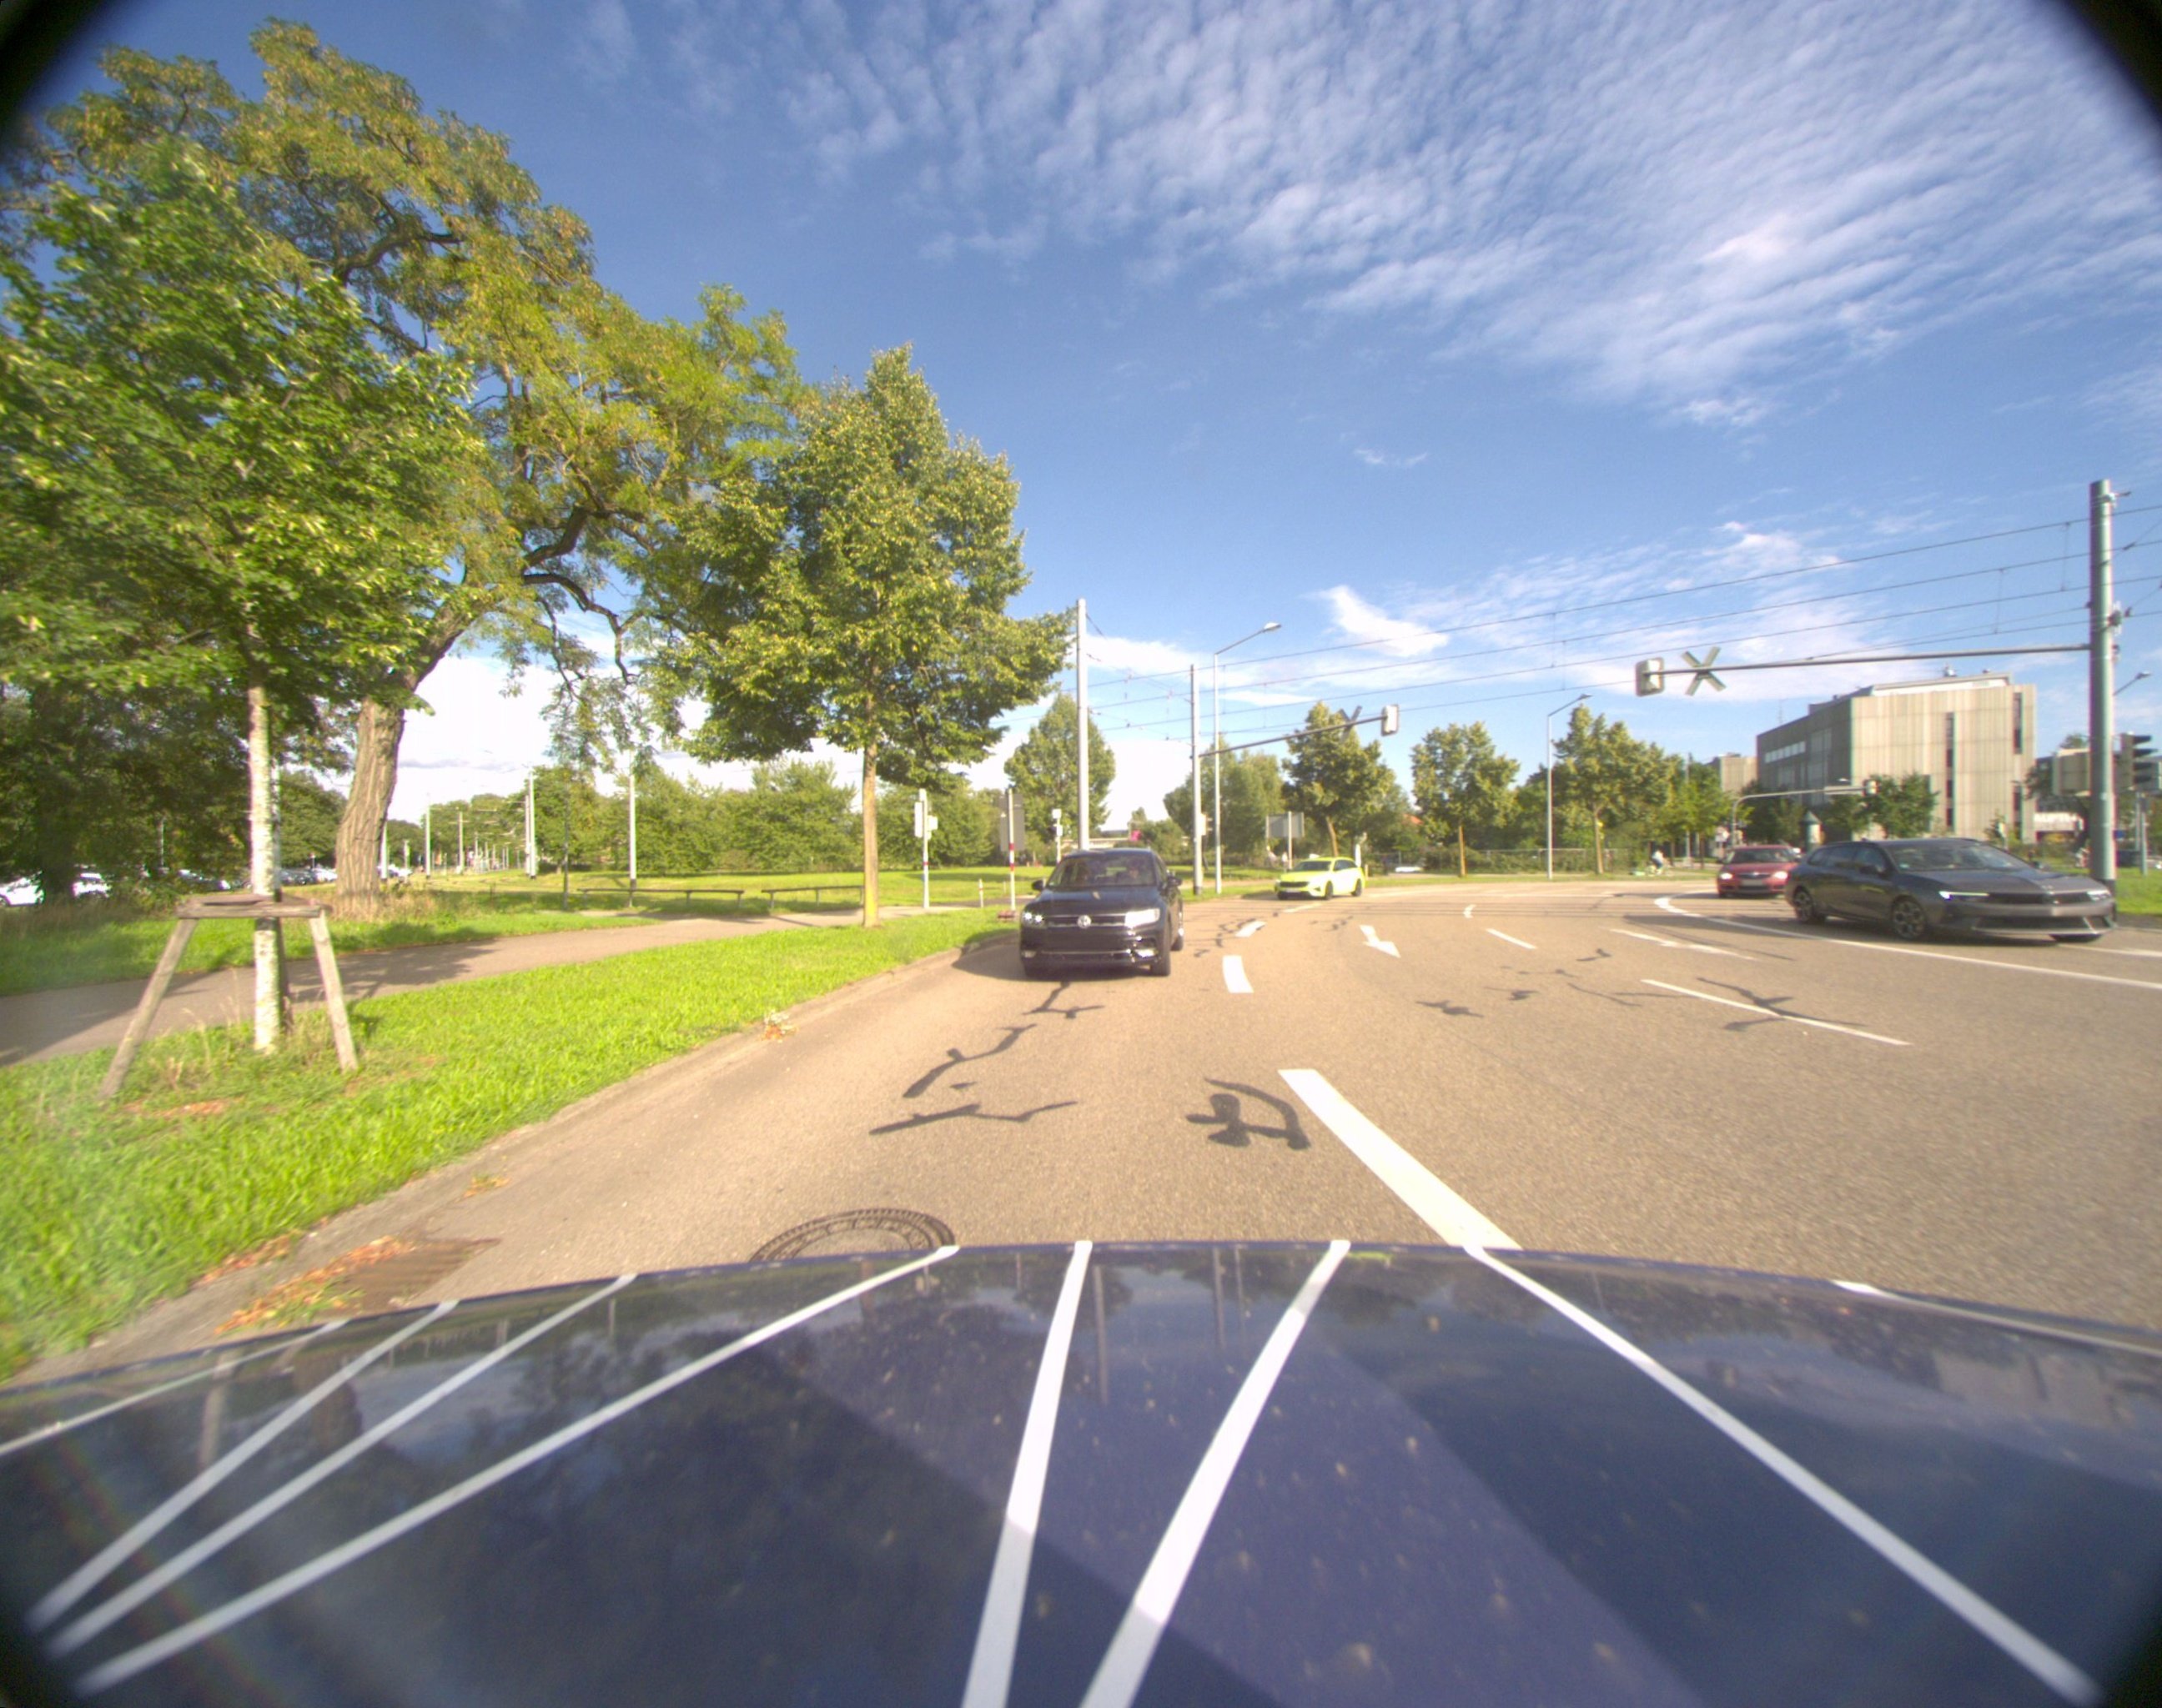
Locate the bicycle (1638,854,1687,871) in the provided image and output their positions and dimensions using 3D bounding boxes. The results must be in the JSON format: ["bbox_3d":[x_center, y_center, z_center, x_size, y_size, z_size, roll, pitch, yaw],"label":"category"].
[{"bbox_3d":[38.484,0.564,50.308,2.599,1.119,0.804,-1,1,3],"label":"bicycle"}]

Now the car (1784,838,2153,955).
[{"bbox_3d":[12.872,0.526,11.521,1.820,1.412,4.454,-2,0,23],"label":"car"}]

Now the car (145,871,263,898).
[{"bbox_3d":[-55.363,1.882,48.103,4.476,1.496,1.857,-1,1,-30],"label":"car"}]

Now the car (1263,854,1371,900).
[{"bbox_3d":[8.401,0.772,26.803,1.892,1.412,4.617,-2,0,41],"label":"car"}]

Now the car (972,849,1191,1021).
[{"bbox_3d":[0.339,0.795,10.143,1.870,1.685,5.019,-1,0,12],"label":"car"}]

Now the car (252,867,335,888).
[{"bbox_3d":[-66.573,1.976,64.318,4.476,1.532,1.855,-1,1,-30],"label":"car"}]

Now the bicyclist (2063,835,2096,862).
[{"bbox_3d":[58.808,-0.300,44.755,0.863,1.547,0.999,0,1,31],"label":"bicyclist"}]

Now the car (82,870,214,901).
[{"bbox_3d":[-51.513,1.729,42.086,4.117,1.507,2.032,-1,1,-25],"label":"car"}]

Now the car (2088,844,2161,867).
[{"bbox_3d":[72.934,0.087,52.850,1.681,1.492,4.001,2,1,24],"label":"car"}]

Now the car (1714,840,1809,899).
[{"bbox_3d":[19.294,0.395,21.485,4.235,1.466,1.690,-2,0,-44],"label":"car"}]

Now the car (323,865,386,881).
[{"bbox_3d":[-78.091,1.996,81.765,4.474,1.532,1.856,-1,1,-23],"label":"car"}]

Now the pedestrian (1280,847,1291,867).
[{"bbox_3d":[17.413,0.252,64.641,0.669,1.722,0.595,-2,1,-36],"label":"pedestrian"}]

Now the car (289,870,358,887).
[{"bbox_3d":[-73.849,2.384,74.147,4.476,1.467,1.795,-1,1,-32],"label":"car"}]

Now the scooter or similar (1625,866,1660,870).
[{"bbox_3d":[39.325,0.988,53.244,1.552,0.279,1.293,-1,0,2],"label":"scooter or similar"}]

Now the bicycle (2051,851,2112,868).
[{"bbox_3d":[58.864,0.310,44.728,1.956,1.001,1.004,-1,0,31],"label":"bicycle"}]

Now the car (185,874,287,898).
[{"bbox_3d":[-60.181,2.277,54.238,4.476,1.507,1.799,-1,1,-30],"label":"car"}]

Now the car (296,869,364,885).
[{"bbox_3d":[-75.834,2.304,76.761,4.474,1.532,1.856,-1,1,-23],"label":"car"}]

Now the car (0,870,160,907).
[{"bbox_3d":[-46.821,1.581,35.514,4.478,1.507,1.856,-1,1,-40],"label":"car"}]

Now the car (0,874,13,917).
[{"bbox_3d":[-40.230,1.501,25.356,4.953,1.507,1.856,-1,1,-33],"label":"car"}]

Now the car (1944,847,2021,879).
[{"bbox_3d":[50.320,0.487,42.516,1.994,1.652,4.813,-1,1,40],"label":"car"}]

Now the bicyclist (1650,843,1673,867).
[{"bbox_3d":[38.428,0.052,50.289,0.904,1.538,0.804,-1,1,3],"label":"bicyclist"}]
